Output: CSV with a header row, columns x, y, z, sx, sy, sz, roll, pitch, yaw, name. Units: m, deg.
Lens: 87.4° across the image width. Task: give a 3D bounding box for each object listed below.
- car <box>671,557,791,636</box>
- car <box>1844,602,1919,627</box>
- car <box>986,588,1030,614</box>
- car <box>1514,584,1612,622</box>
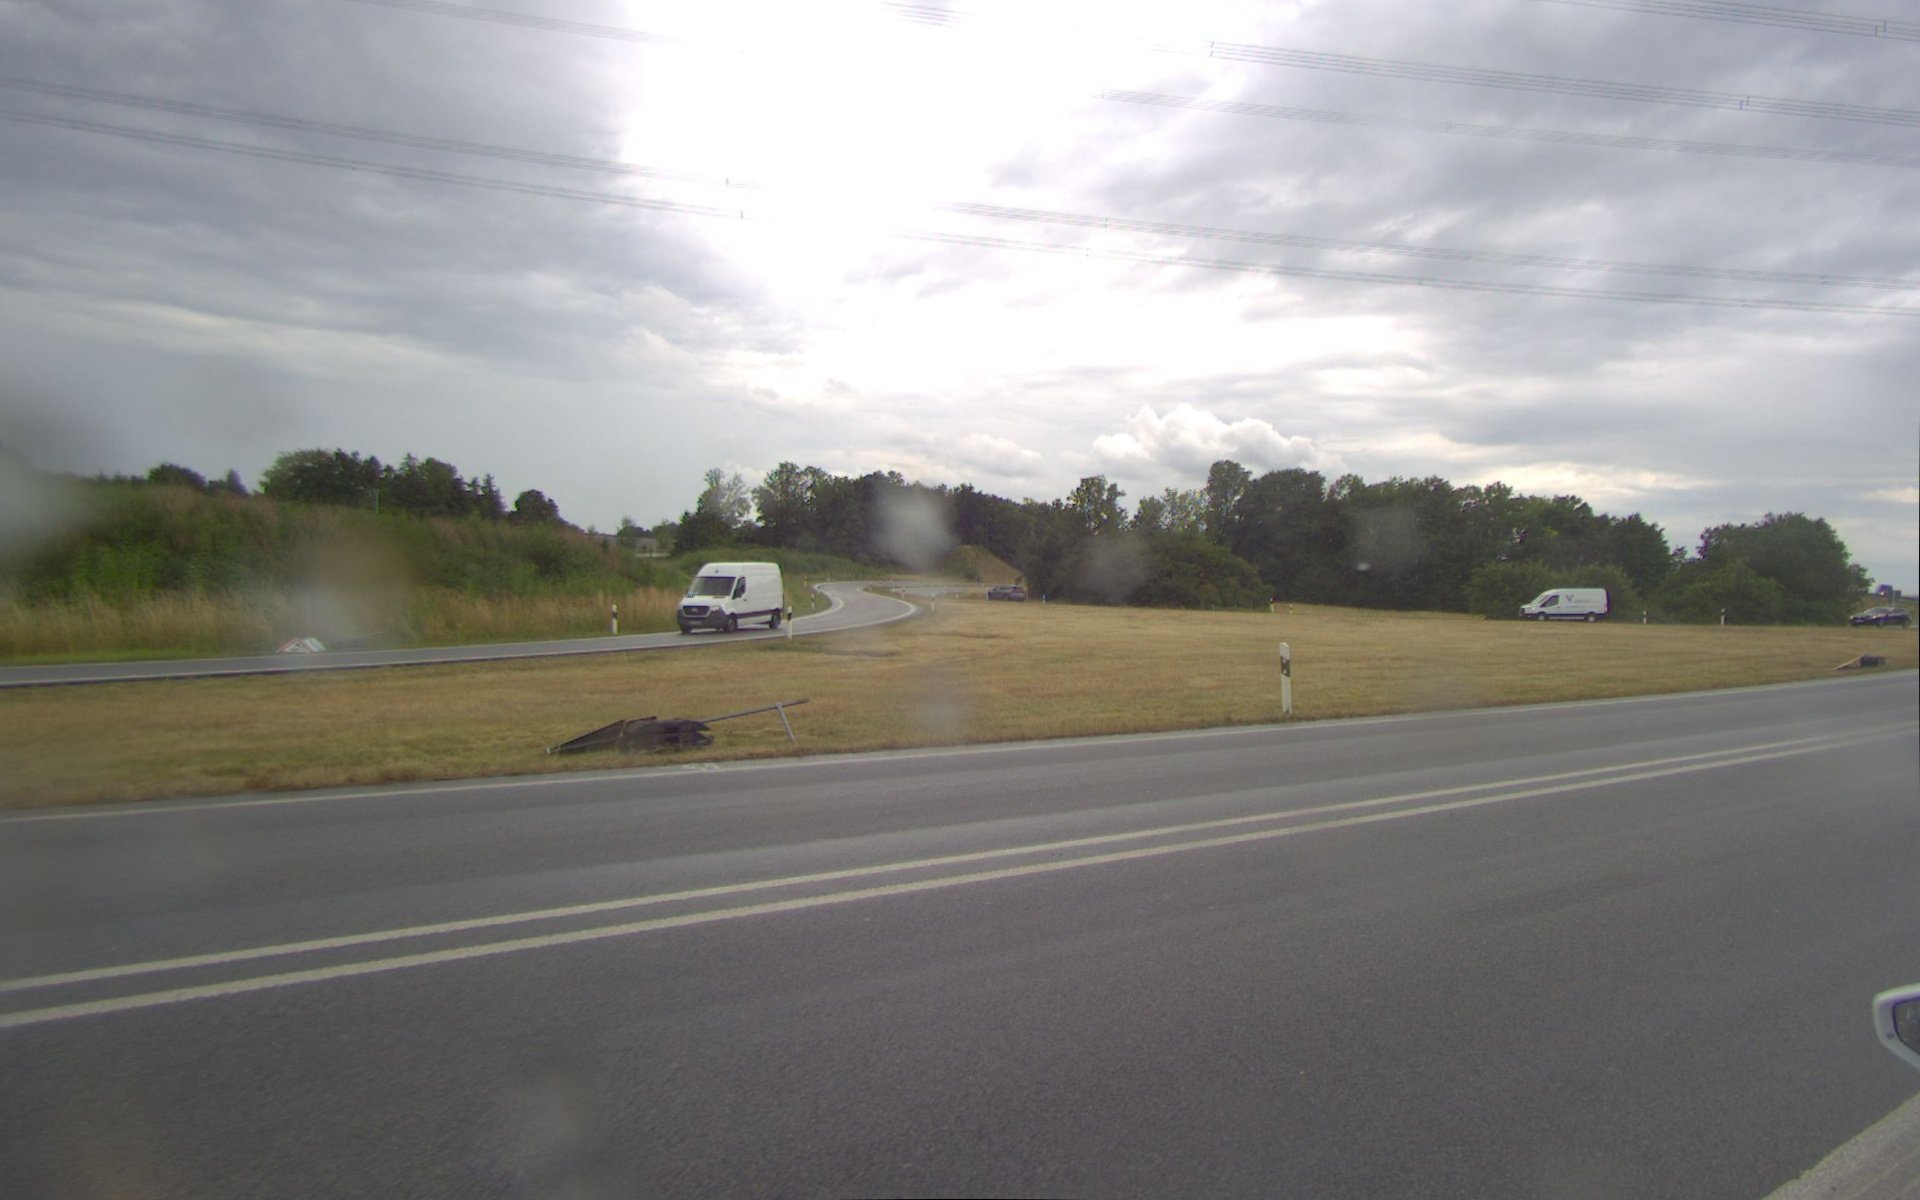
x,y,z,sx,sy,sz,roll,pitch,yaw,name
-8.662,-0.151,38.770,2.169,2.786,6.024,1,1,12,car
65.577,1.028,71.483,3.845,1.625,1.984,2,1,-9,car
4.480,0.100,94.171,1.982,2.040,3.958,2,3,-37,car
42.559,0.191,70.998,5.359,2.423,2.443,2,0,12,car
